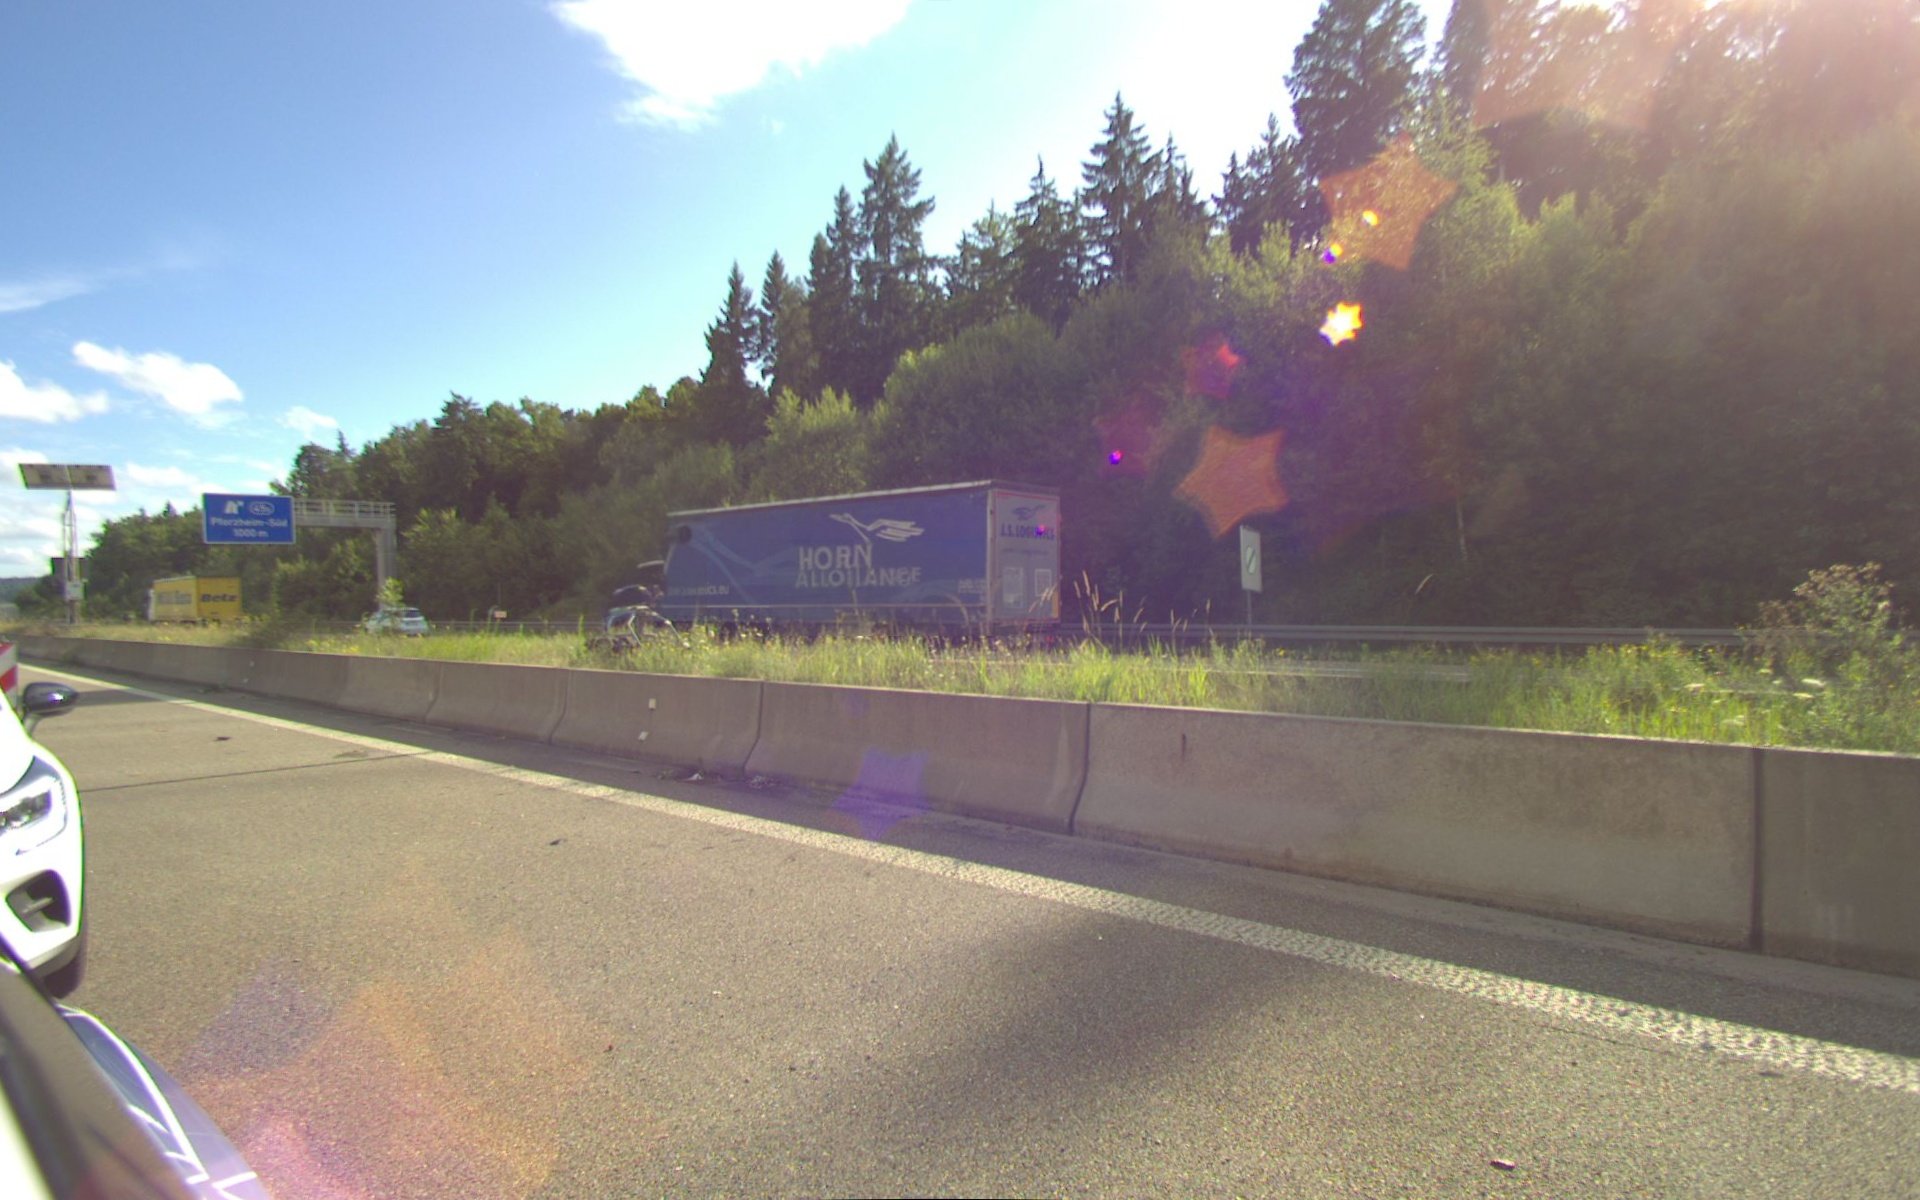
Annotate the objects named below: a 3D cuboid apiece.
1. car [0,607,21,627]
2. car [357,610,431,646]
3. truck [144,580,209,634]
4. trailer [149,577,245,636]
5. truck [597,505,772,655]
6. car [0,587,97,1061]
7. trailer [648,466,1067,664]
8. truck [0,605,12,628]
[{"bbox_3d":[-166.321,3.021,176.796,7.448,3.395,2.461,-1,0,41],"label":"car"},{"bbox_3d":[-26.284,1.275,46.966,3.998,1.572,1.768,-1,0,41],"label":"car"},{"bbox_3d":[-59.806,0.547,77.183,5.946,3.938,2.797,-1,0,41],"label":"truck"},{"bbox_3d":[-55.674,0.470,73.585,13.934,3.952,2.798,-1,0,41],"label":"trailer"},{"bbox_3d":[-8.570,-0.535,31.243,5.465,4.221,2.610,-1,-1,41],"label":"truck"},{"bbox_3d":[-5.036,0.756,4.090,3.881,1.549,1.817,-1,0,41],"label":"car"},{"bbox_3d":[-3.424,-0.644,26.712,13.366,4.173,2.592,-1,-1,41],"label":"trailer"},{"bbox_3d":[-180.021,3.138,189.492,10.180,4.022,2.771,-1,0,41],"label":"truck"}]
